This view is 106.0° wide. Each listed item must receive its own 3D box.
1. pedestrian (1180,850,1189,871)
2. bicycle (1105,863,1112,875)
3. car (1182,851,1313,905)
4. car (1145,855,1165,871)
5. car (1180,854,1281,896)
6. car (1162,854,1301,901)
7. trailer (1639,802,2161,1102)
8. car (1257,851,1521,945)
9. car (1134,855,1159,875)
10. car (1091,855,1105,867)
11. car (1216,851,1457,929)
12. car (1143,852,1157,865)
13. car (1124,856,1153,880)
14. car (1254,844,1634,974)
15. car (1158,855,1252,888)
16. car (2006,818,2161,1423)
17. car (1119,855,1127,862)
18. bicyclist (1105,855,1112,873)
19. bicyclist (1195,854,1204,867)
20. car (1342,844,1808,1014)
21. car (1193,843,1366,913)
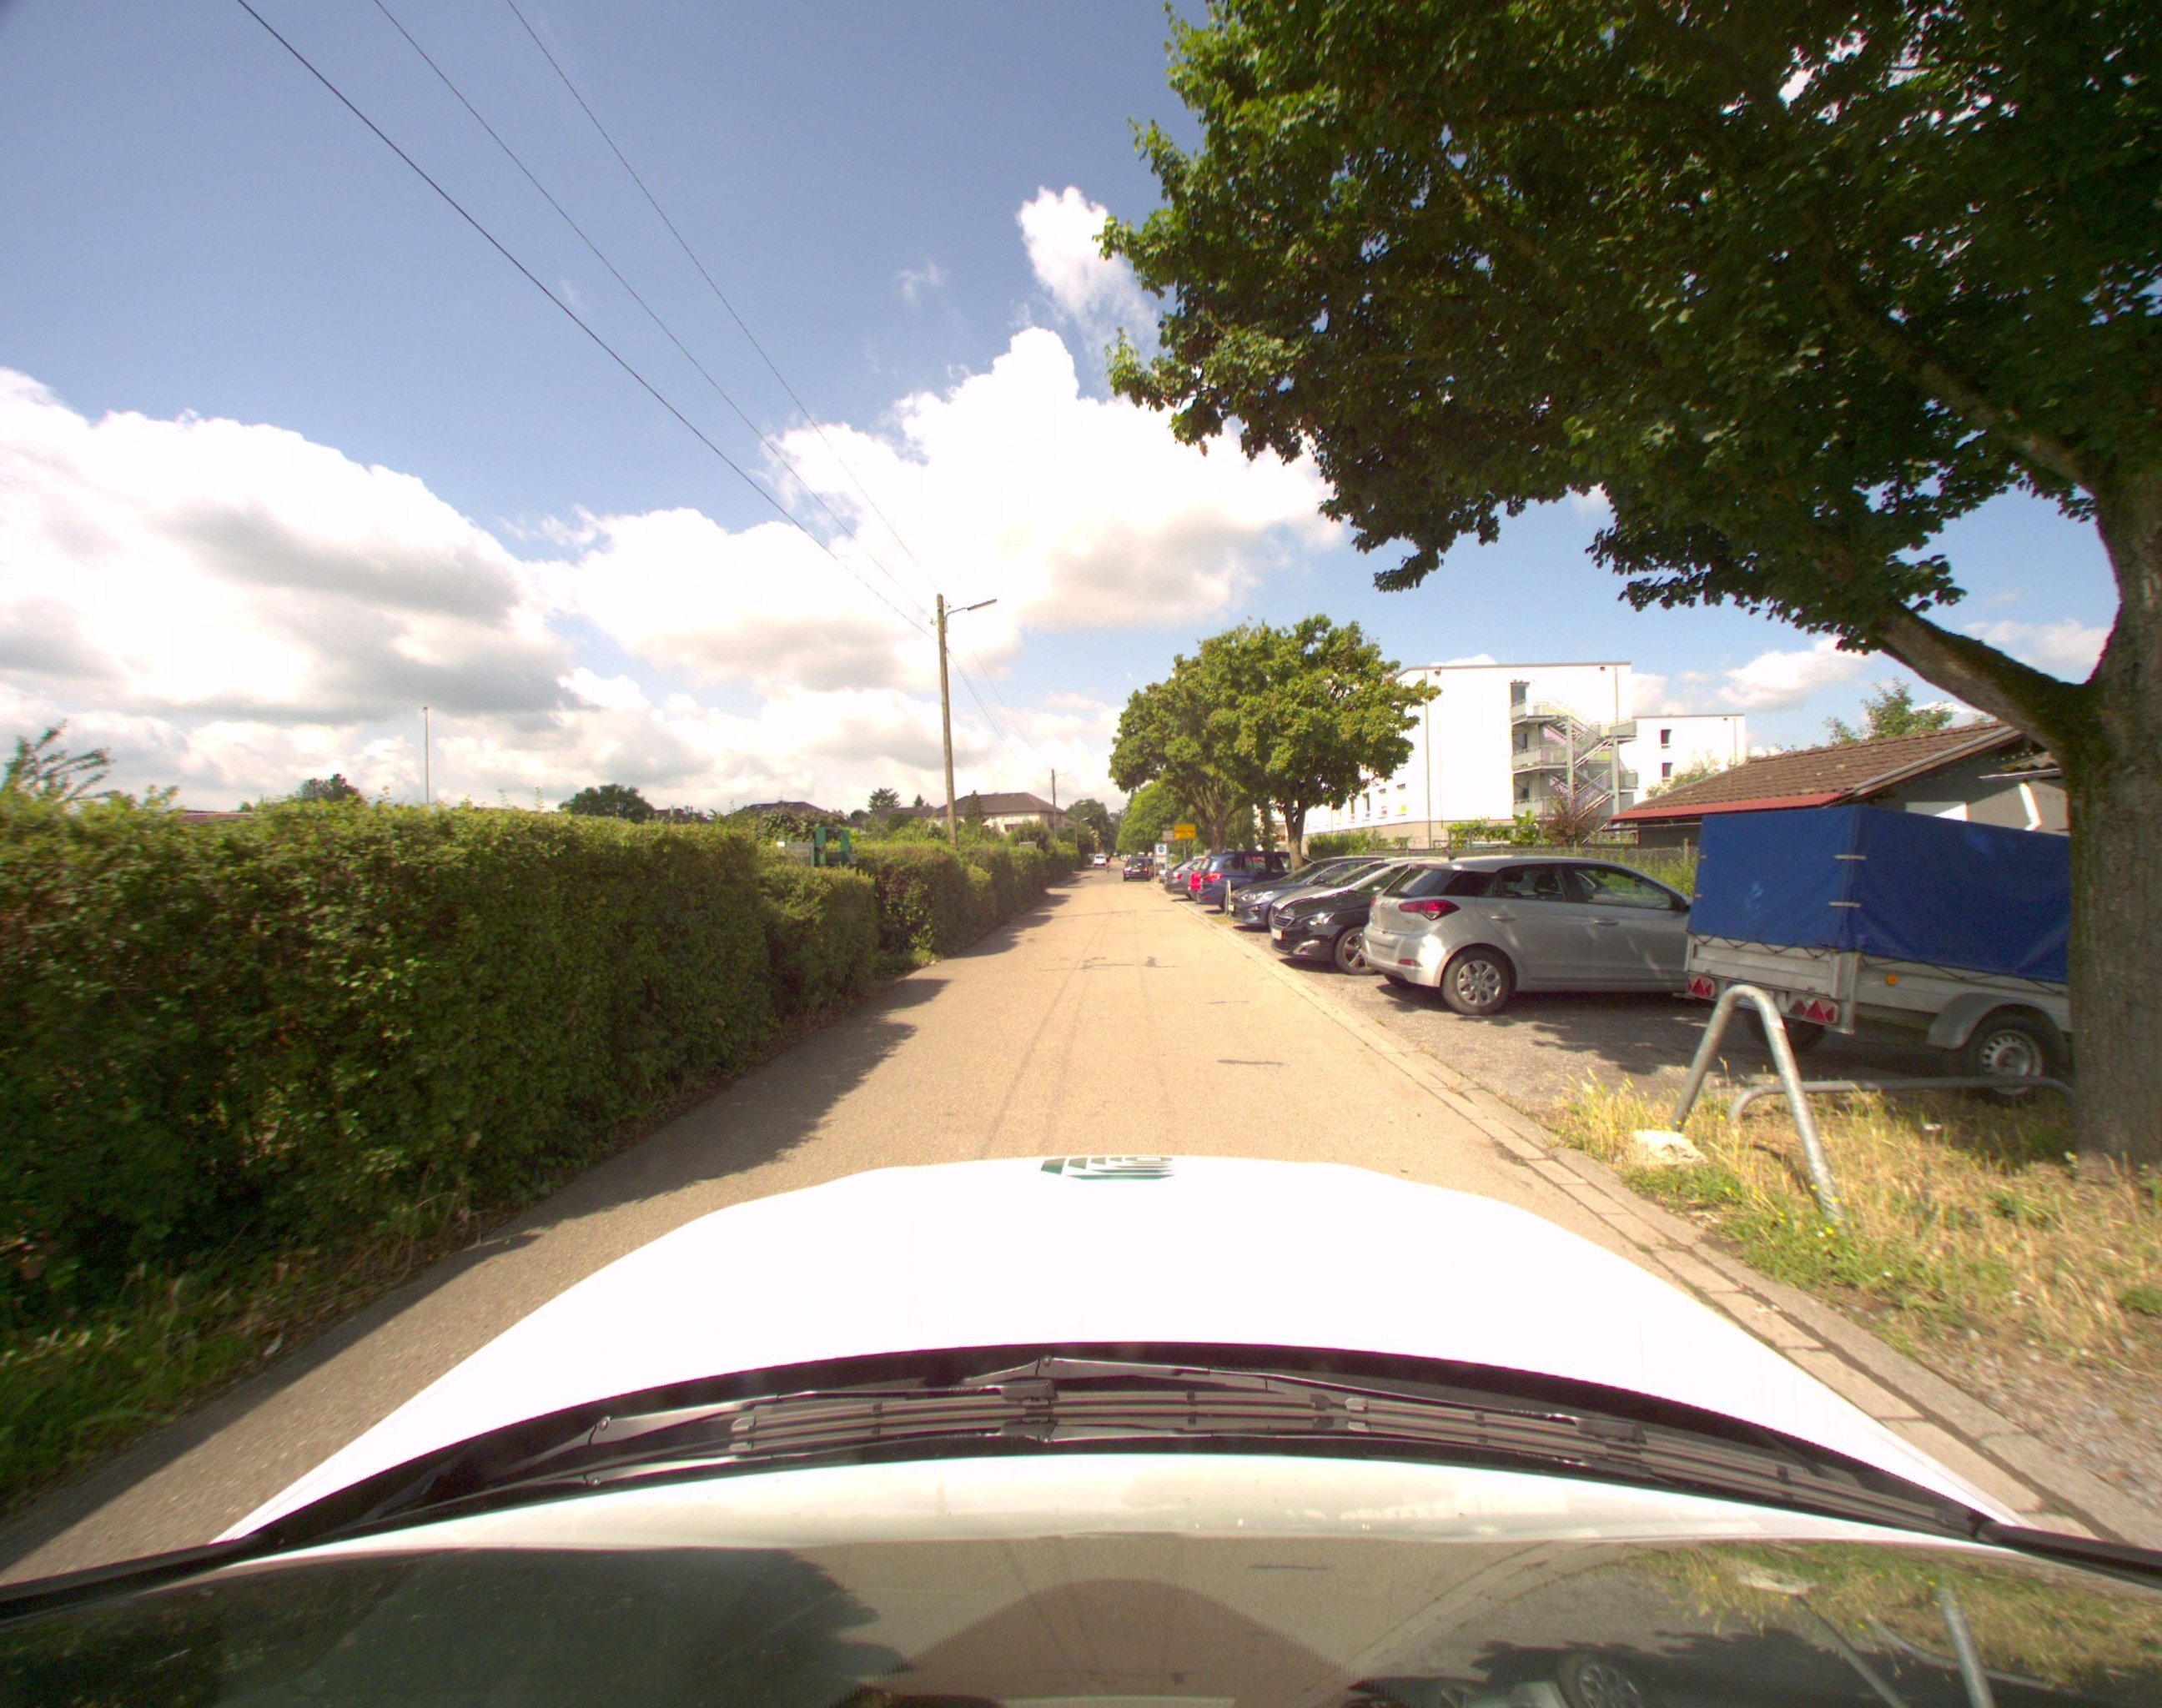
[{"bbox_3d":[8.793,0.568,69.295,0.606,1.745,0.725,0,-1,15],"label":"pedestrian"},{"bbox_3d":[2.799,1.497,83.082,0.515,1.150,1.829,-3,0,4],"label":"bicycle"},{"bbox_3d":[5.191,0.732,25.771,3.795,1.532,1.763,-2,-1,1],"label":"car"},{"bbox_3d":[6.797,0.860,75.060,1.656,1.435,3.544,0,0,3],"label":"car"},{"bbox_3d":[5.664,0.776,31.159,3.564,1.549,1.666,0,-1,-2],"label":"car"},{"bbox_3d":[5.130,0.792,28.183,4.533,1.578,1.809,0,-1,0],"label":"car"},{"bbox_3d":[5.482,0.554,5.487,2.443,1.720,1.517,0,0,-2],"label":"trailer"},{"bbox_3d":[5.081,0.709,13.851,3.799,1.492,1.903,0,-1,1],"label":"car"},{"bbox_3d":[5.188,0.864,64.145,1.653,1.552,3.646,0,0,9],"label":"car"},{"bbox_3d":[2.538,1.059,121.596,1.894,1.814,4.005,0,0,4],"label":"car"},{"bbox_3d":[5.038,0.694,16.535,4.320,1.492,1.976,0,-1,1],"label":"car"},{"bbox_3d":[10.462,0.743,123.665,2.048,1.926,4.546,0,0,5],"label":"car"},{"bbox_3d":[3.794,0.913,53.055,1.654,1.506,4.008,0,0,7],"label":"car"},{"bbox_3d":[4.677,0.686,11.035,4.286,1.594,2.000,0,-1,1],"label":"car"},{"bbox_3d":[5.904,0.817,39.189,4.337,1.392,1.721,-2,-1,5],"label":"car"},{"bbox_3d":[4.663,0.659,1.272,4.045,1.511,1.960,0,-1,4],"label":"car"},{"bbox_3d":[11.112,1.214,215.236,1.842,1.618,4.007,0,0,7],"label":"car"},{"bbox_3d":[2.793,1.036,82.991,0.656,1.852,1.044,-3,-1,4],"label":"bicyclist"},{"bbox_3d":[15.822,0.834,108.620,0.777,1.785,0.900,-1,-1,34],"label":"bicyclist"},{"bbox_3d":[4.839,0.686,8.384,3.713,1.540,1.849,0,-1,-2],"label":"car"},{"bbox_3d":[5.129,0.626,21.517,4.137,1.637,1.880,-2,-1,3],"label":"car"}]
